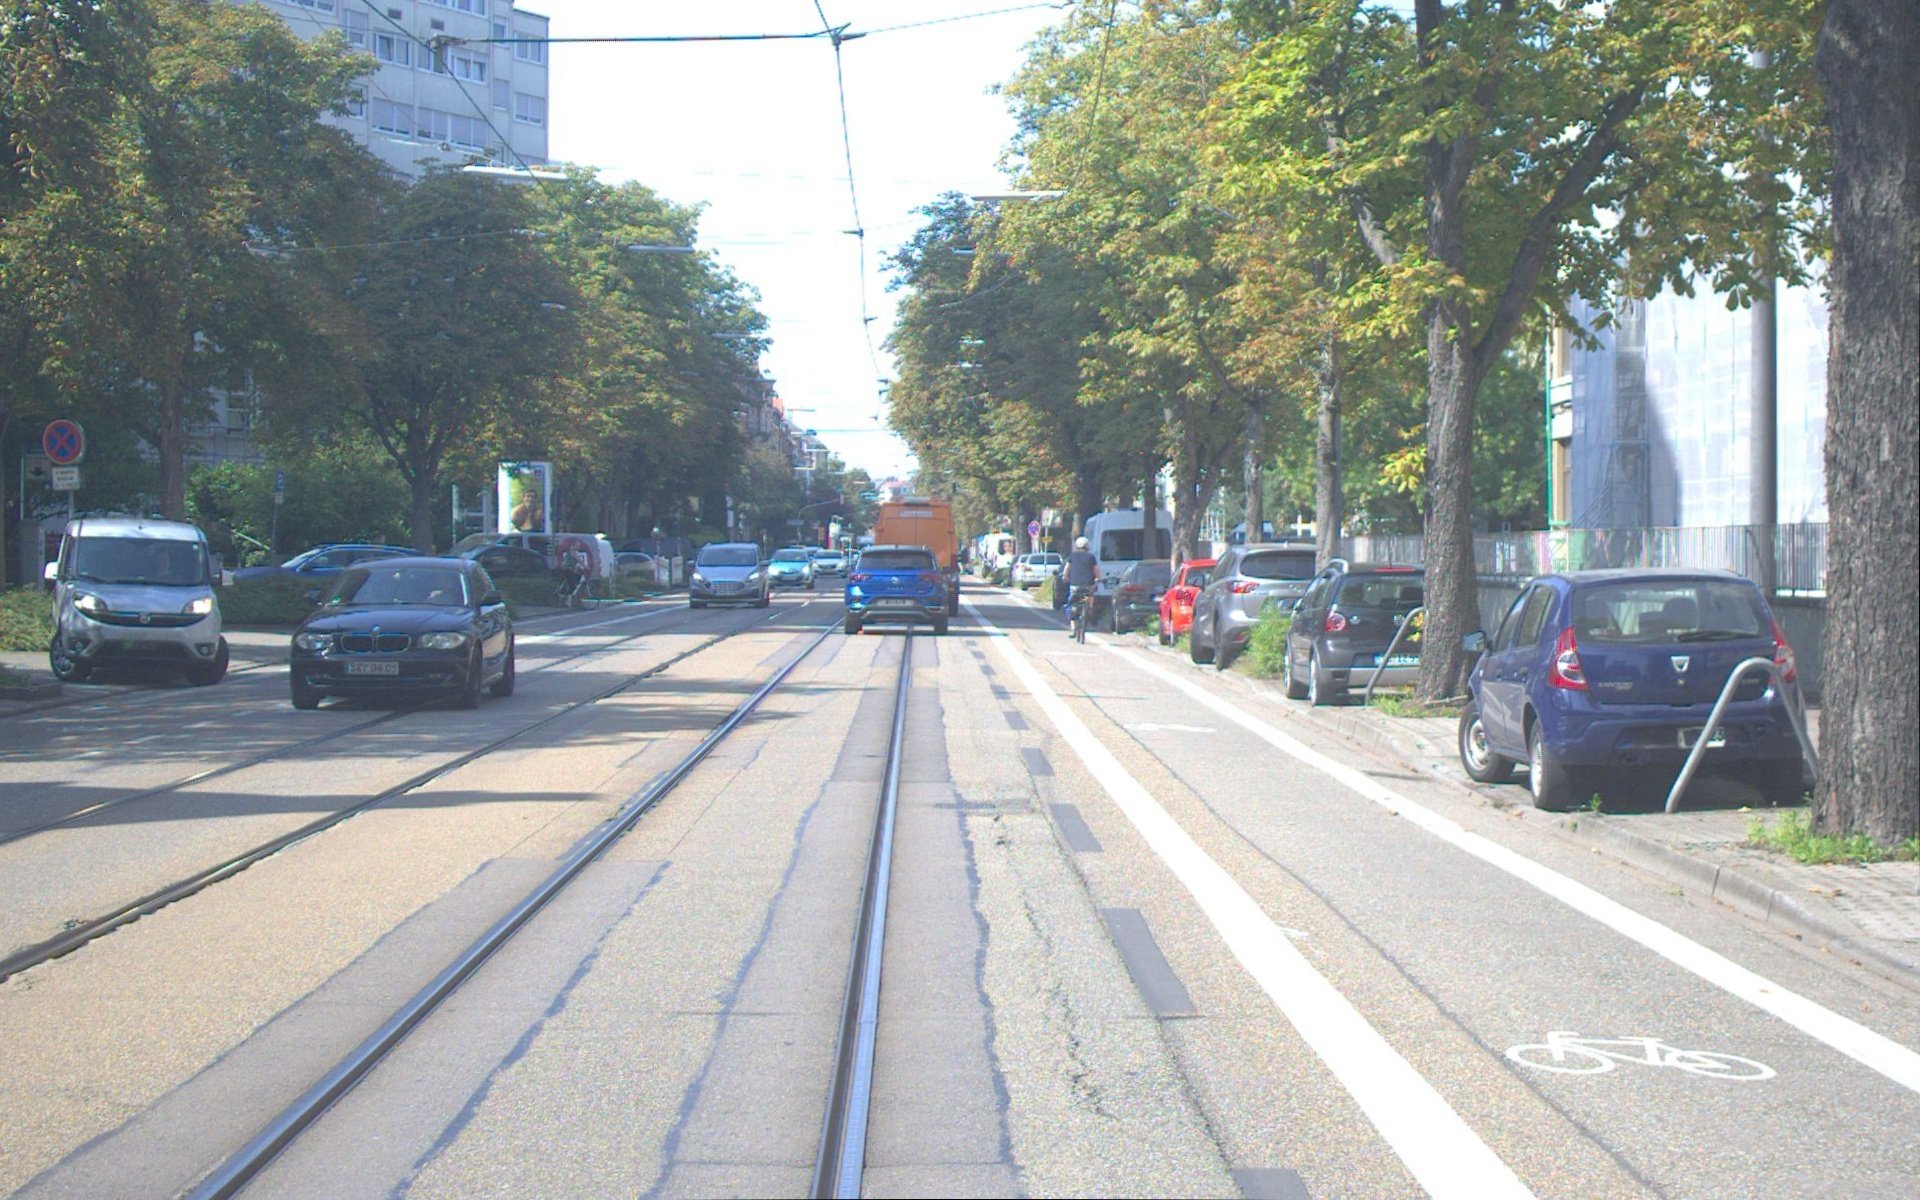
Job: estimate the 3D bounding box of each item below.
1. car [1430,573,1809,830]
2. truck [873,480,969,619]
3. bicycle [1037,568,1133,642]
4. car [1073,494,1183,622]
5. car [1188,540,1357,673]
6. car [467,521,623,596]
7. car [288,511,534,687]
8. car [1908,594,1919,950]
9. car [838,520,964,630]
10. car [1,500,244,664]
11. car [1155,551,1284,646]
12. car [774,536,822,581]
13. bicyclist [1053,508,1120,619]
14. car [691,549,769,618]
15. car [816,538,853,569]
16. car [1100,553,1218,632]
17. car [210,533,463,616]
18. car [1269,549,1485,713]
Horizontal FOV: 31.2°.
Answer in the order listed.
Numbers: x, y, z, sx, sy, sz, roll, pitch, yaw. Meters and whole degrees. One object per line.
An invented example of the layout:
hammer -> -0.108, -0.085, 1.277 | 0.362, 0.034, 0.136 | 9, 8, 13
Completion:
car -> 4.328, 0.605, 23.169 | 1.743, 1.550, 4.217 | 0, 1, 0
truck -> -0.891, -1.196, 80.061 | 2.135, 3.113, 6.085 | 0, 1, 0
bicycle -> 2.058, 0.059, 57.366 | 1.401, 1.130, 4.000 | 1, 1, -1
car -> 3.742, -0.968, 77.461 | 1.993, 2.746, 5.762 | 1, 1, -2
car -> 4.159, 0.044, 46.357 | 1.740, 1.662, 4.362 | 1, 1, -2
car -> -11.581, -1.159, 96.064 | 3.989, 2.007, 1.856 | 0, 1, -43
car -> -5.240, -0.047, 33.273 | 1.681, 1.566, 4.206 | 1, 1, 0
car -> 4.619, 0.708, 11.618 | 1.659, 1.403, 4.217 | 0, 1, 0
car -> -1.010, -0.471, 60.951 | 2.135, 1.852, 5.568 | 0, 1, 0
car -> -9.757, -0.237, 39.861 | 1.747, 1.790, 4.001 | 1, 1, -28
car -> 4.250, -0.049, 56.740 | 1.740, 1.457, 3.684 | 1, 1, -2
car -> -5.914, -1.542, 125.541 | 1.633, 1.579, 4.189 | 1, 1, -2
bicyclist -> 2.104, -0.615, 57.361 | 1.031, 1.806, 1.016 | 1, 1, -1
car -> -5.822, -0.444, 87.338 | 1.780, 1.678, 4.348 | 1, 1, -2
car -> -6.541, -2.439, 179.547 | 1.898, 1.556, 4.123 | 1, 1, -2
car -> 3.837, -0.171, 66.879 | 1.908, 1.427, 4.293 | 1, 1, -2
car -> -12.379, -0.512, 68.255 | 4.568, 1.547, 2.001 | 1, 1, -24
car -> 4.334, 0.280, 36.265 | 1.633, 1.579, 4.189 | 1, 1, -2
